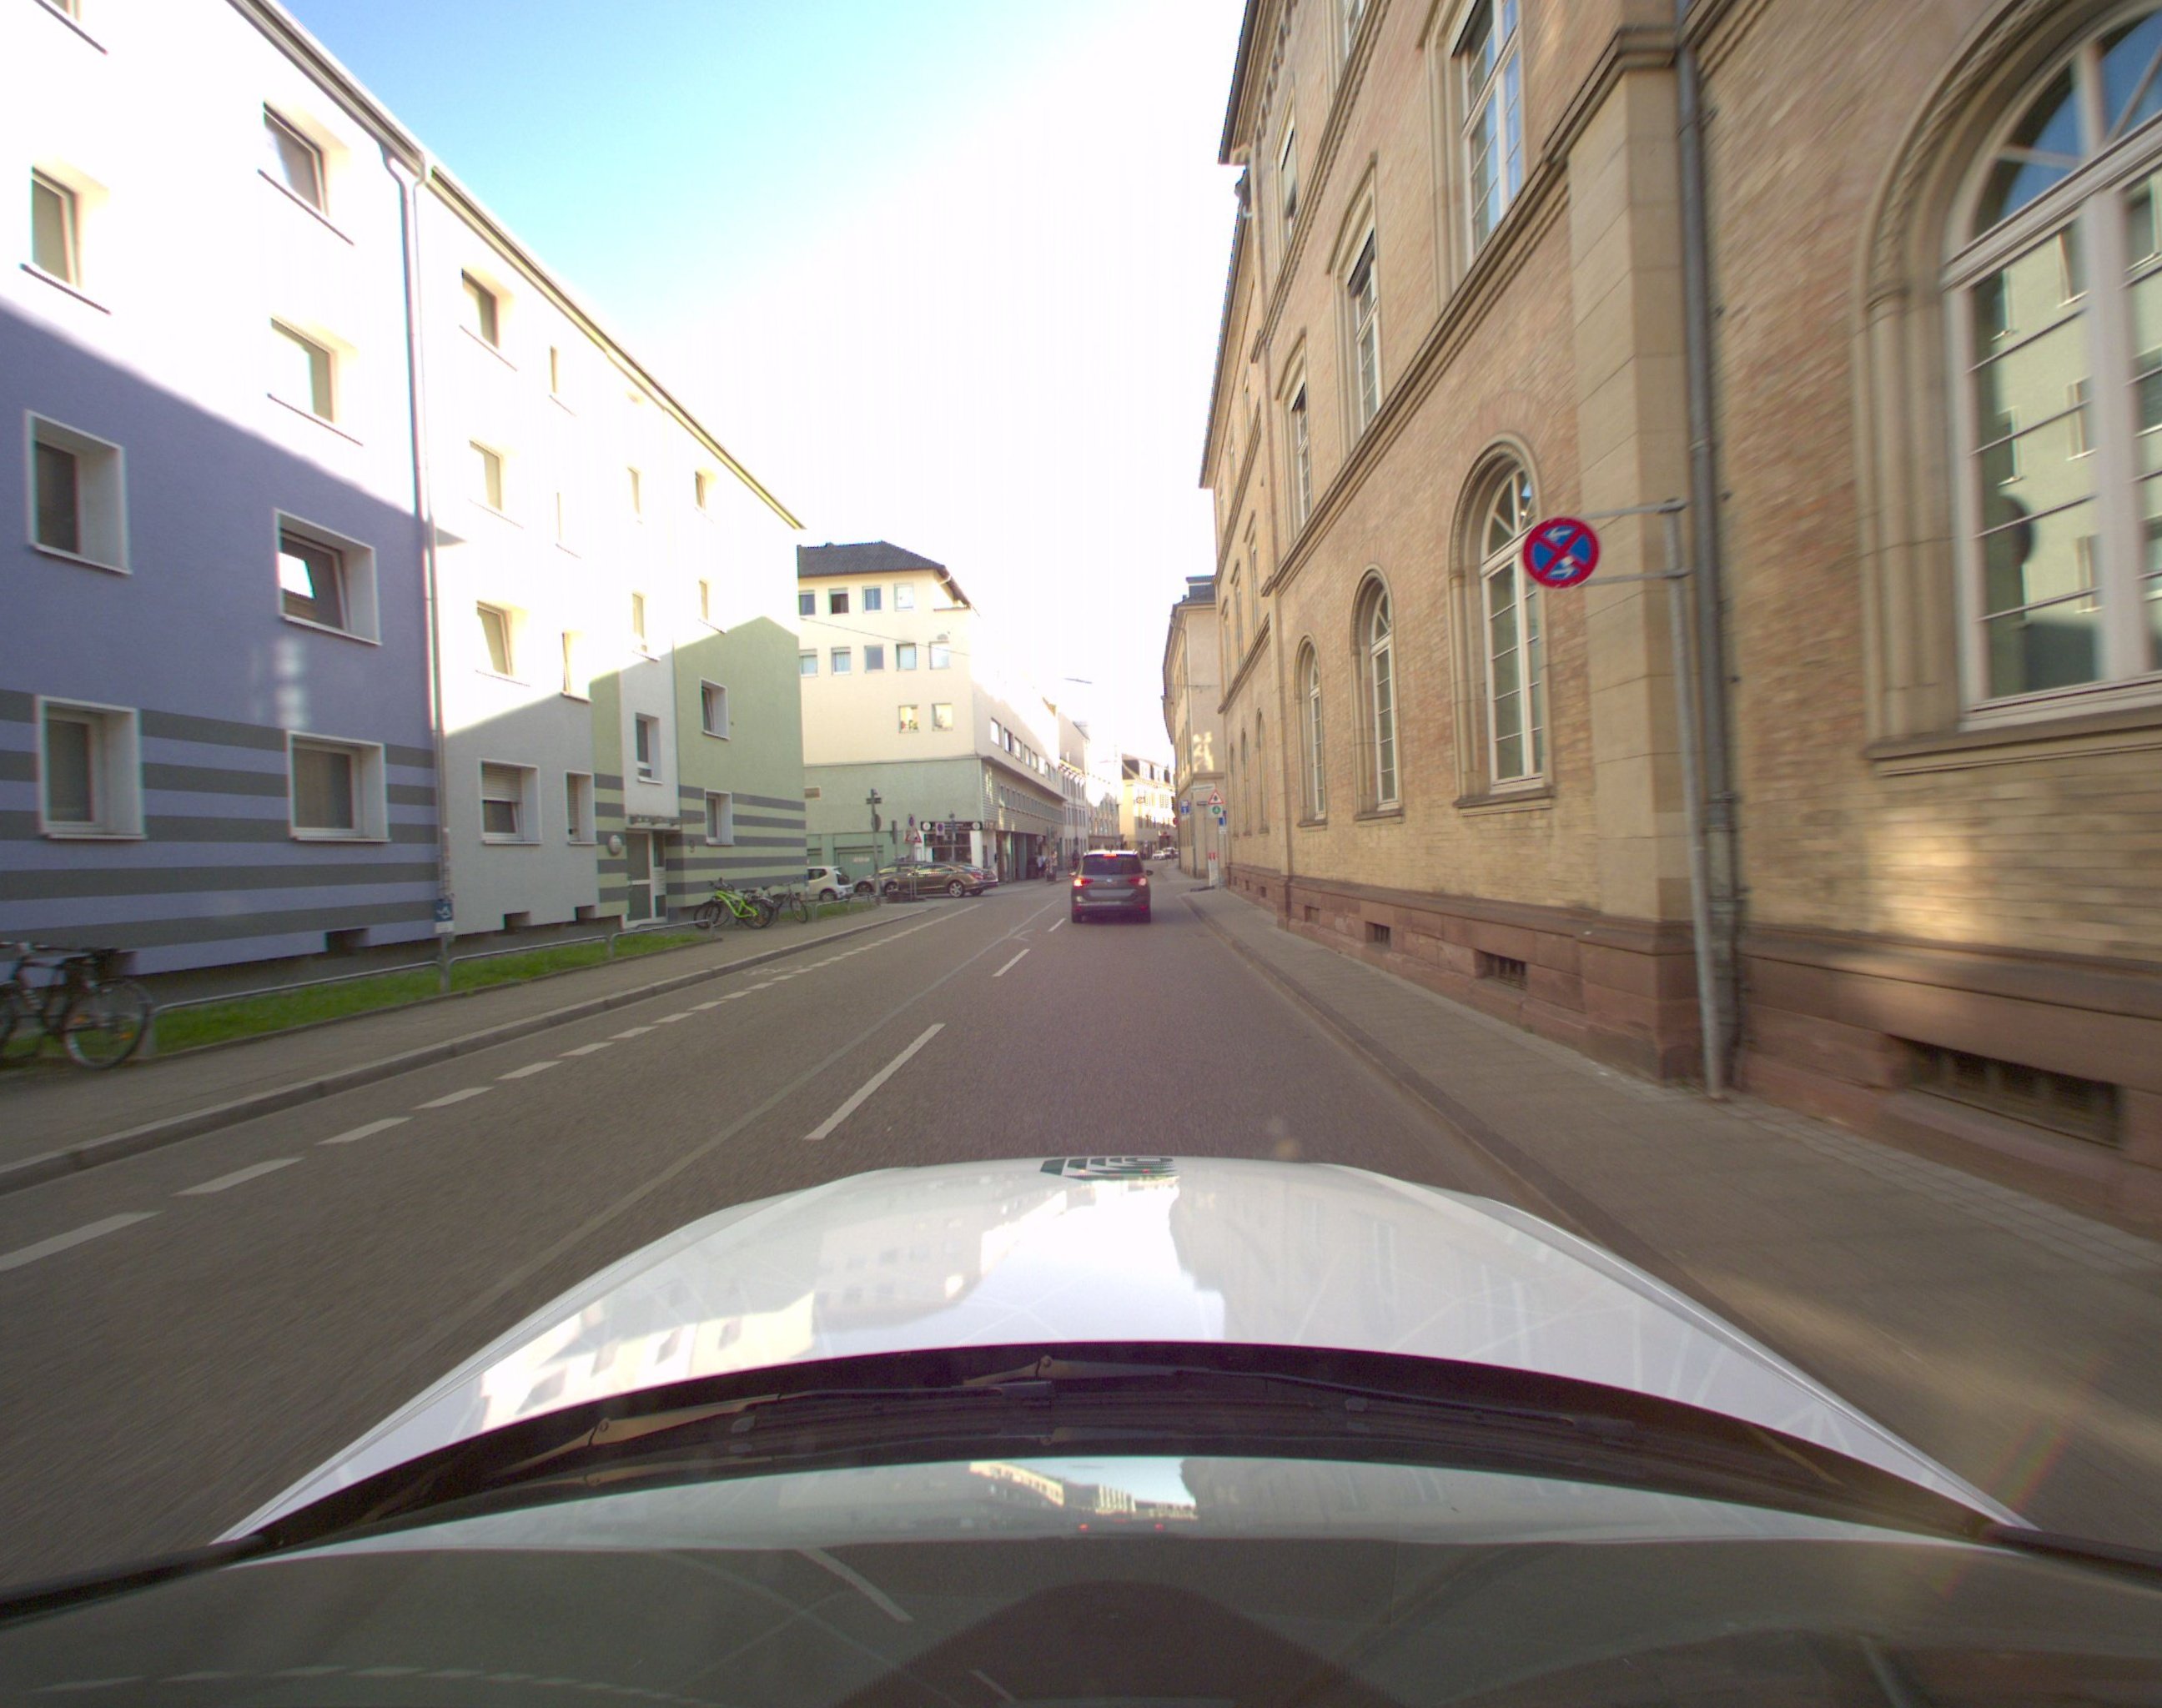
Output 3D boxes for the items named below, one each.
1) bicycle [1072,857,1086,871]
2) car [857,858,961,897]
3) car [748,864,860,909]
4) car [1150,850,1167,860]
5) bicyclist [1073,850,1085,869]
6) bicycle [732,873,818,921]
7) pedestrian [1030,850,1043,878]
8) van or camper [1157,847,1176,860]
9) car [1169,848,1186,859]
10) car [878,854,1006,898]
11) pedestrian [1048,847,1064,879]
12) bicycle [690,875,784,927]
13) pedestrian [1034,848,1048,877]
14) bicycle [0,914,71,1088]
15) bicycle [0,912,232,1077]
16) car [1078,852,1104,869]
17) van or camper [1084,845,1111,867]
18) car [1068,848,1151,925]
[{"bbox_3d":[-0.140,0.792,66.804,0.827,1.054,2.553,-2,0,6],"label":"bicycle"},{"bbox_3d":[-7.682,1.046,36.577,4.079,1.442,1.950,-3,0,4],"label":"car"},{"bbox_3d":[-10.432,1.197,30.817,3.484,1.442,1.816,-3,0,4],"label":"car"},{"bbox_3d":[12.014,0.117,126.077,1.720,1.468,4.018,-2,0,17],"label":"car"},{"bbox_3d":[-0.162,0.441,66.531,0.827,1.561,0.761,-2,0,5],"label":"bicyclist"},{"bbox_3d":[-7.696,1.076,20.567,1.926,1.179,0.612,0,-1,-6],"label":"bicycle"},{"bbox_3d":[-2.978,0.636,54.087,0.725,1.829,0.557,-2,0,2],"label":"pedestrian"},{"bbox_3d":[13.858,-0.125,131.737,1.977,2.013,5.023,-2,0,19],"label":"van or camper"},{"bbox_3d":[16.349,-0.053,137.925,1.810,1.726,4.020,-2,0,20],"label":"car"},{"bbox_3d":[-5.564,0.892,32.778,4.576,1.541,2.010,-2,0,18],"label":"car"},{"bbox_3d":[-1.459,0.502,47.853,0.550,1.829,0.735,-2,0,26],"label":"pedestrian"},{"bbox_3d":[-8.046,1.093,19.110,1.931,1.179,0.611,0,-1,-13],"label":"bicycle"},{"bbox_3d":[-2.565,0.518,51.964,0.550,1.829,0.735,-2,0,26],"label":"pedestrian"},{"bbox_3d":[-8.756,1.129,6.146,1.633,1.241,0.467,-2,0,0],"label":"bicycle"},{"bbox_3d":[-8.507,1.166,6.859,2.002,1.231,0.623,-2,0,0],"label":"bicycle"},{"bbox_3d":[0.925,0.567,74.313,1.855,1.468,3.842,-2,0,8],"label":"car"},{"bbox_3d":[1.690,0.168,80.023,1.982,2.013,4.494,-2,0,9],"label":"van or camper"},{"bbox_3d":[0.723,0.677,19.227,1.754,1.607,4.004,0,0,3],"label":"car"}]
